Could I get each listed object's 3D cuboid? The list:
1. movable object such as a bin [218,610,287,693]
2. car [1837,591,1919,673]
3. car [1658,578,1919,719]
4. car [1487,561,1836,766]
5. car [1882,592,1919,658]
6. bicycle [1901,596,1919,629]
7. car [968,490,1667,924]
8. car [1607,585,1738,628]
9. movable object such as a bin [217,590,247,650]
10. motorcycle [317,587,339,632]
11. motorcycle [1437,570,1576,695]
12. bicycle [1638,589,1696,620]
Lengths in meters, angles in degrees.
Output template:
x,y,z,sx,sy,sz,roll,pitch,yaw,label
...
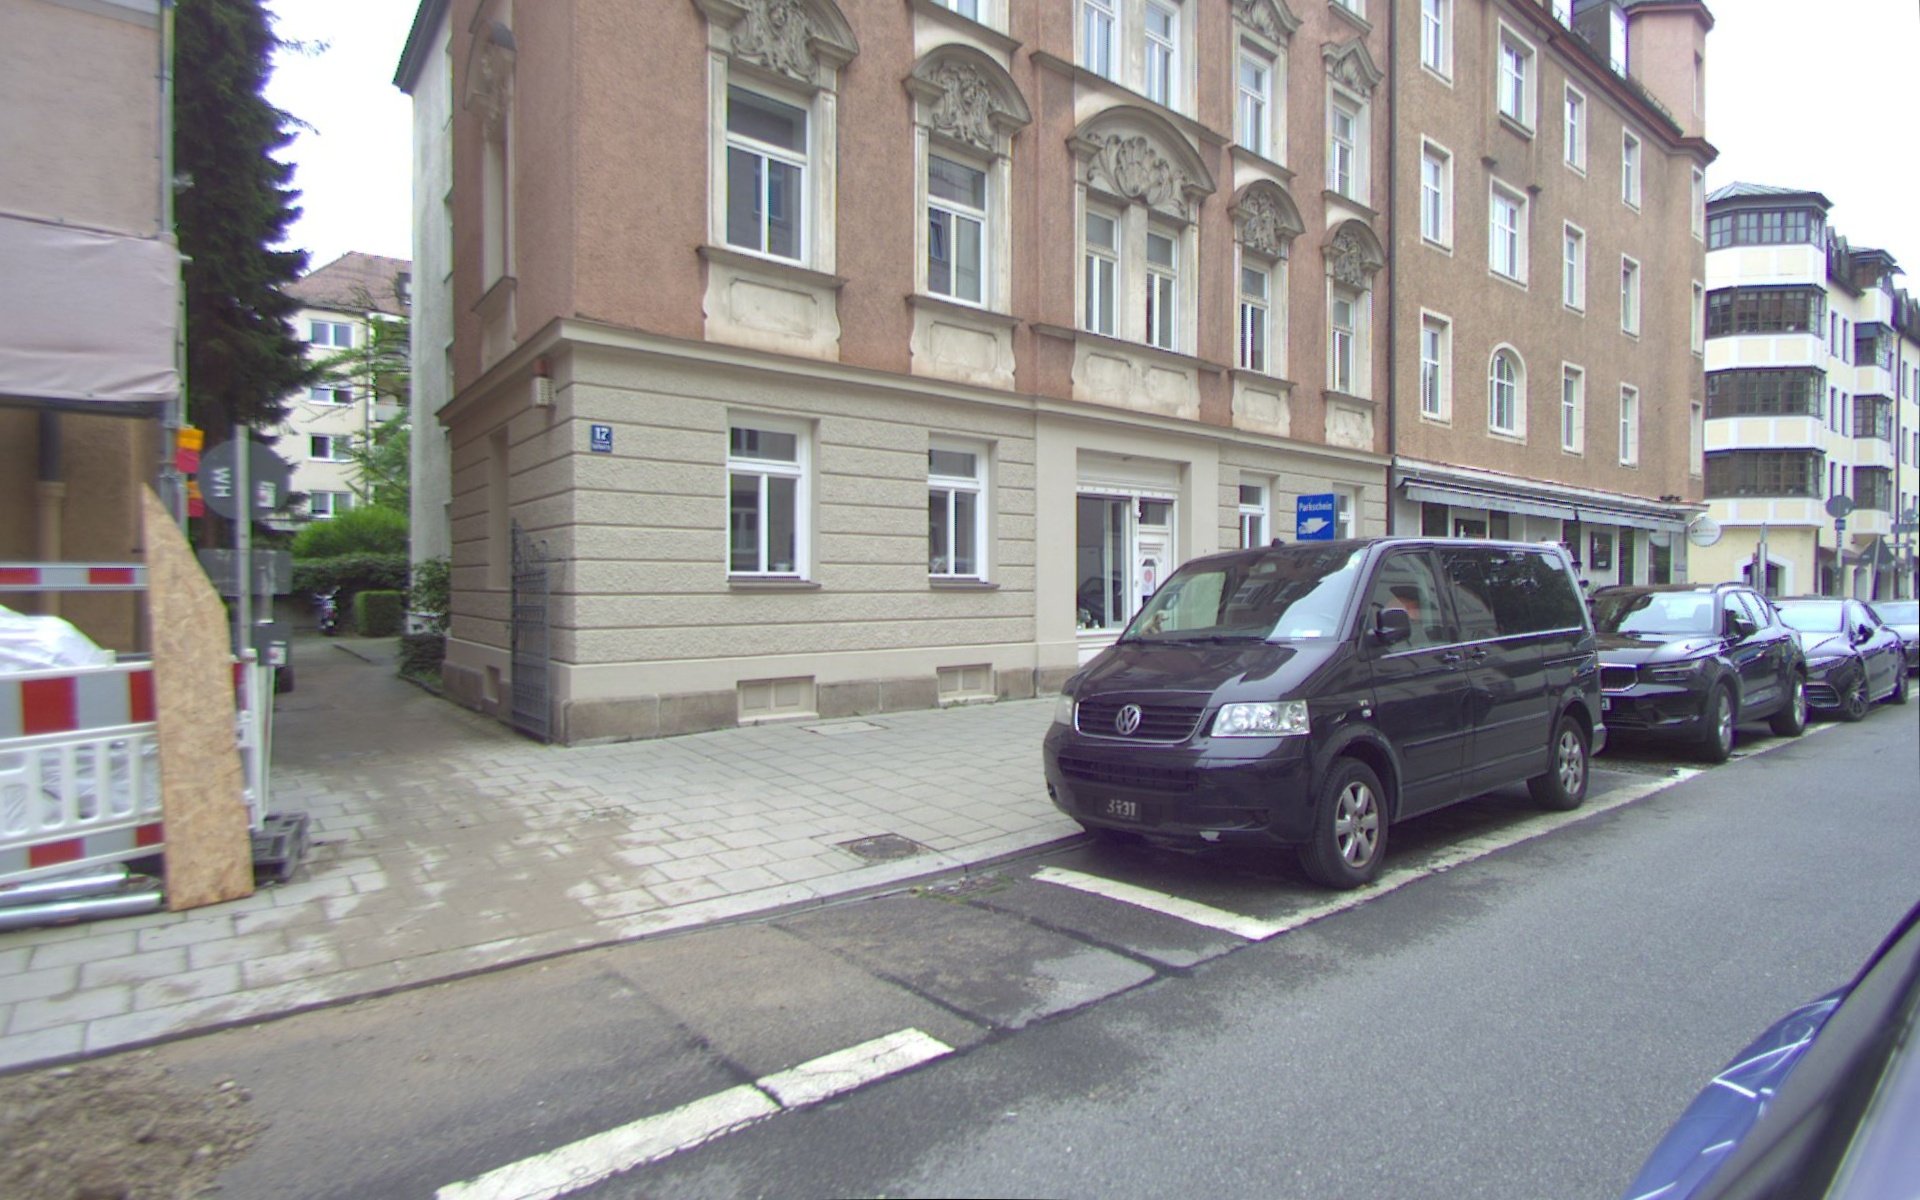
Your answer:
x,y,z,sx,sy,sz,roll,pitch,yaw,label
-10.492,0.731,15.025,0.816,1.123,1.249,0,1,-35,movable object such as a bin
18.652,0.568,19.833,4.109,1.412,1.575,-1,2,-40,car
11.531,0.522,13.802,5.537,1.572,1.935,0,0,-40,car
7.333,0.528,10.423,4.327,1.698,1.697,-1,-2,-38,car
22.867,0.527,23.211,4.701,1.422,1.851,0,1,-39,car
35.604,0.445,37.700,2.015,1.173,0.430,-1,2,-37,bicycle
2.699,0.364,6.919,5.049,1.944,2.087,-3,2,-38,car
27.407,0.228,39.015,1.717,1.458,3.748,3,0,-34,car
-16.274,0.438,22.624,0.543,1.333,0.467,0,0,-36,movable object such as a bin
-17.820,0.259,28.542,0.428,1.218,1.832,0,0,-35,motorcycle
7.195,0.387,13.286,1.960,1.523,0.874,0,0,-37,motorcycle
29.325,0.173,41.983,0.506,1.201,1.906,0,1,-37,bicycle
